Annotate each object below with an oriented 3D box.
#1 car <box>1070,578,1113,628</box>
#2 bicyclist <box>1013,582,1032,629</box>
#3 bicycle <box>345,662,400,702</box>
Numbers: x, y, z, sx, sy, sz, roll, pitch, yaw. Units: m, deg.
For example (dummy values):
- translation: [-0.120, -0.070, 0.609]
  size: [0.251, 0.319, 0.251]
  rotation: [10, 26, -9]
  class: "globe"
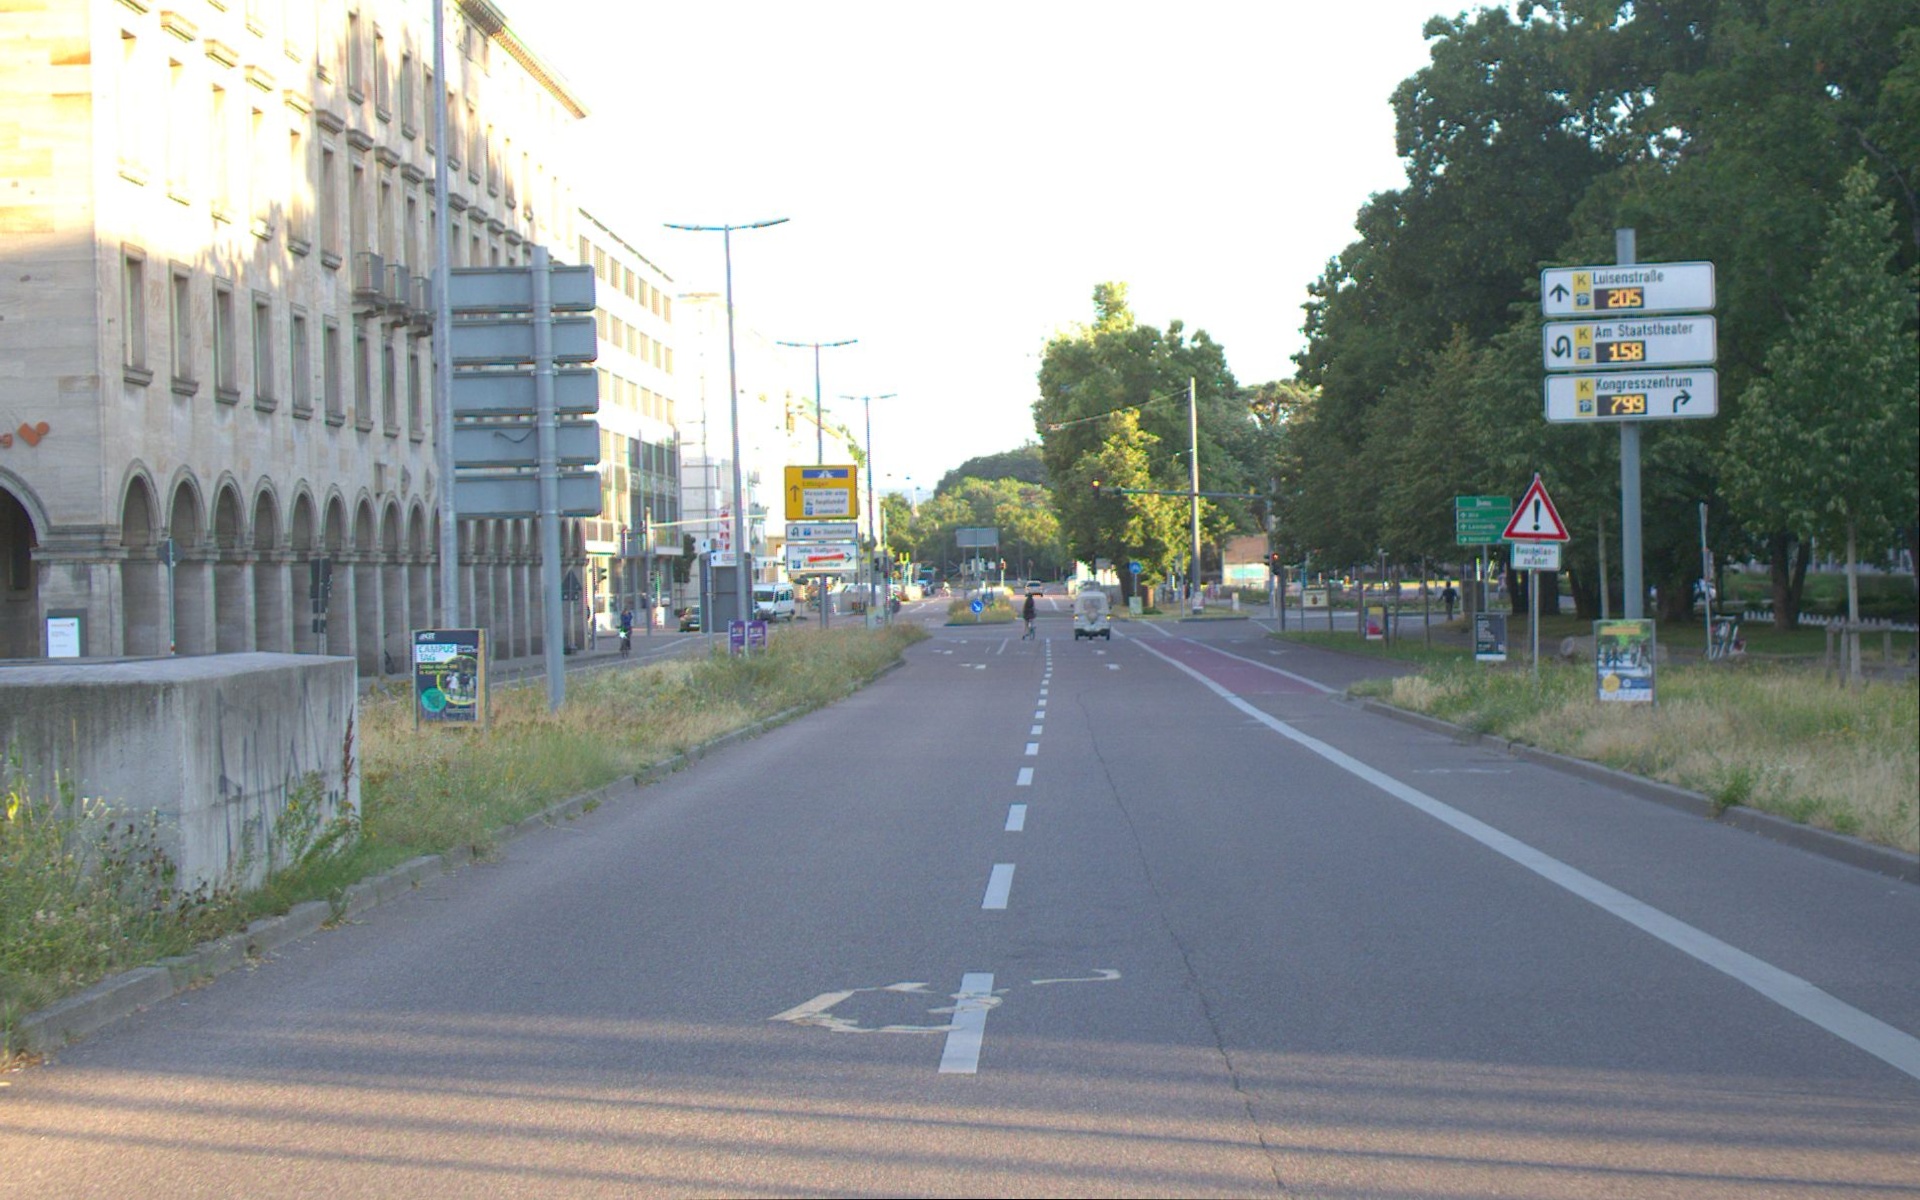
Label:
- translation: [4.811, 0.103, 125.362]
  size: [1.459, 1.775, 2.564]
  rotation: [-1, 0, 4]
  class: "car"
- translation: [2.307, 0.201, 126.785]
  size: [0.628, 1.687, 0.748]
  rotation: [-2, -1, 1]
  class: "bicyclist"
- translation: [-15.421, 2.148, 90.248]
  size: [0.477, 1.002, 2.003]
  rotation: [-2, 0, 20]
  class: "bicycle"
